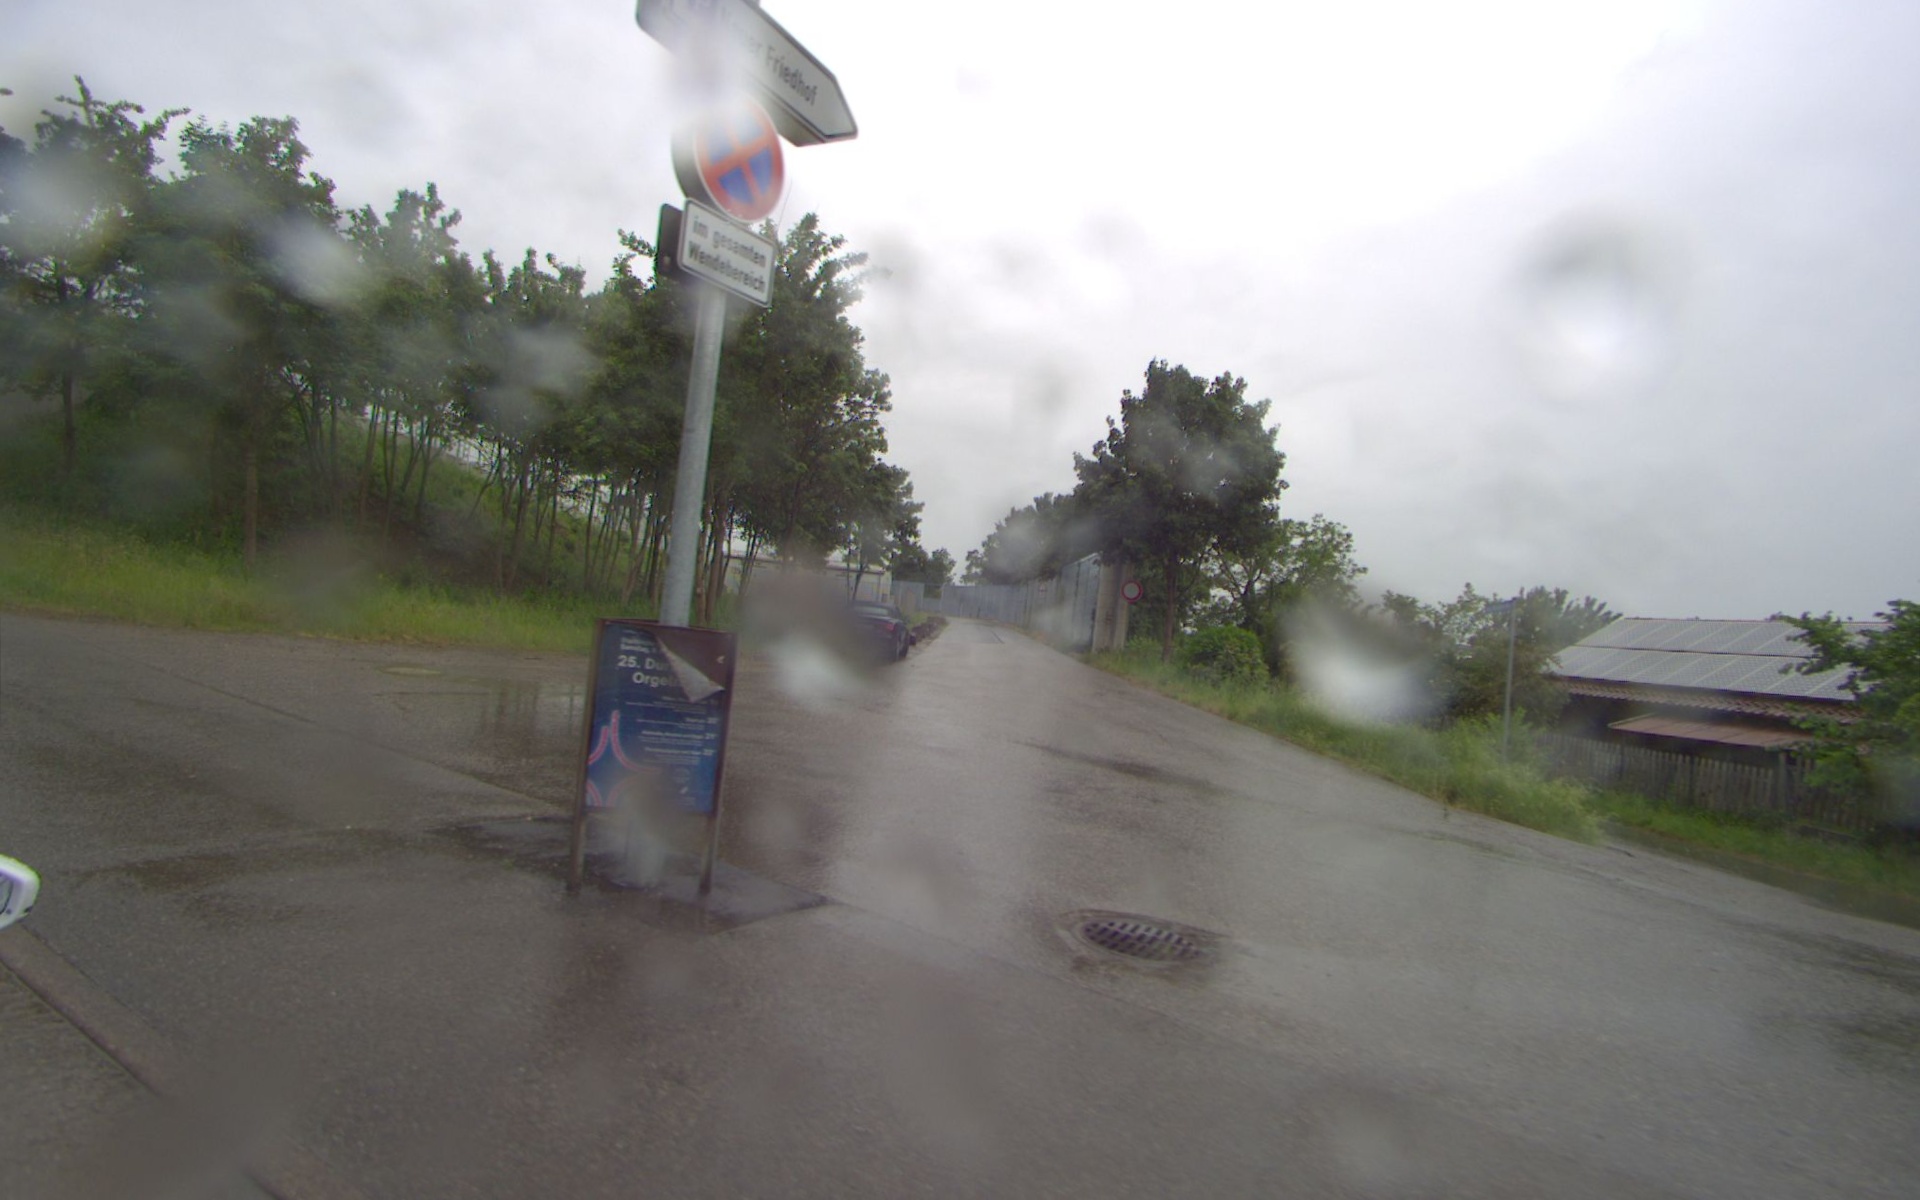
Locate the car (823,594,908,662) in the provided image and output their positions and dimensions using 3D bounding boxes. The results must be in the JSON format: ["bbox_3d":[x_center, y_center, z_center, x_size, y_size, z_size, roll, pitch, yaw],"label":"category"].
[{"bbox_3d":[-2.362,0.759,26.175,1.871,1.374,4.113,8,-3,-3],"label":"car"}]
